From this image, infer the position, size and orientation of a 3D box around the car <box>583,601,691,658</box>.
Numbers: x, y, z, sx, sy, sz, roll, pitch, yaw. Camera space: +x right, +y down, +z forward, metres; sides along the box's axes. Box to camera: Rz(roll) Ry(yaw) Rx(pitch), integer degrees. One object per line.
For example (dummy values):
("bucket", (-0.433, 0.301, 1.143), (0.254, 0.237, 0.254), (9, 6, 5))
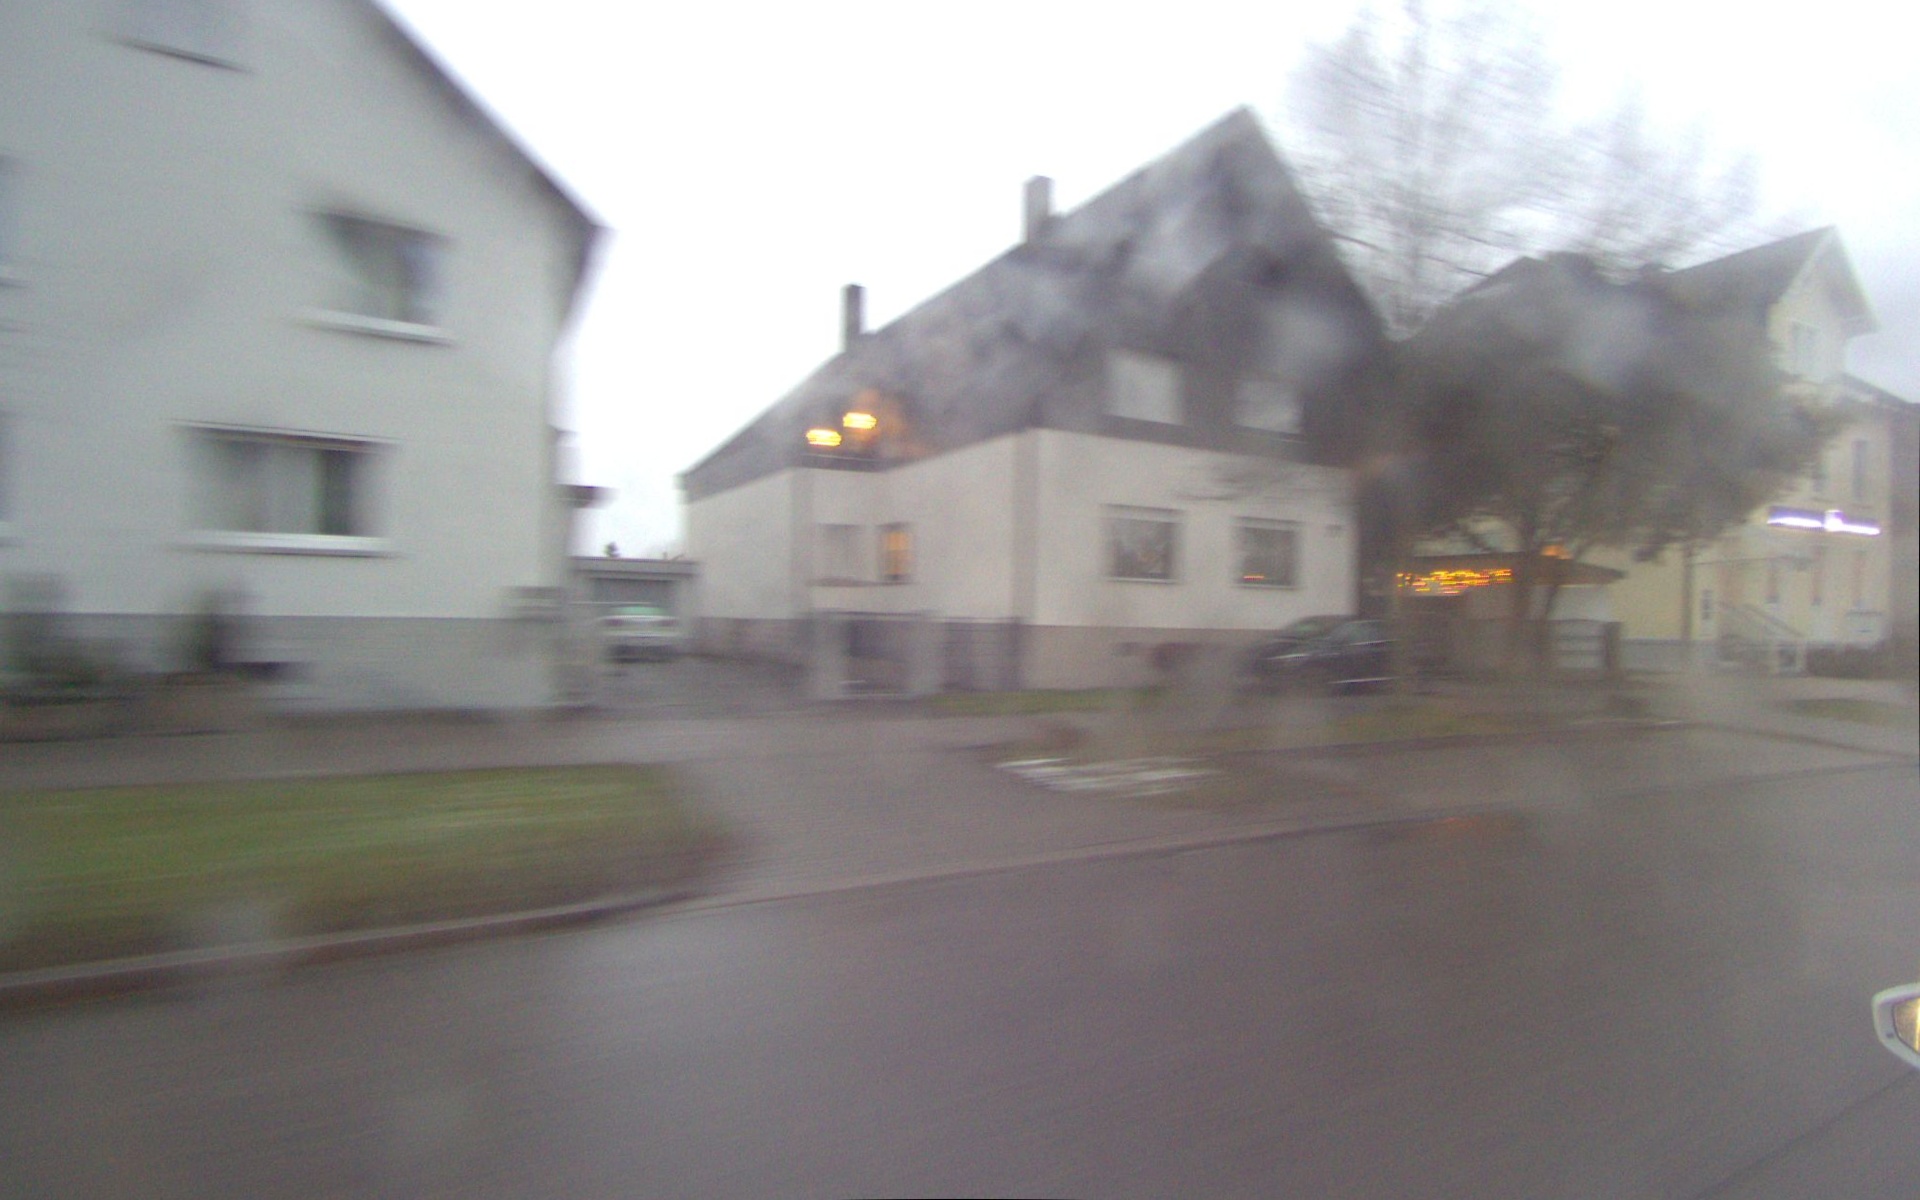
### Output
("car", (-8.075, 0.768, 24.890), (1.833, 1.274, 3.971), (1, -3, -29))

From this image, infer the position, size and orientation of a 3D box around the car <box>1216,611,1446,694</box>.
("car", (6.938, 0.960, 18.766), (3.947, 1.384, 1.776), (2, 0, -26))
